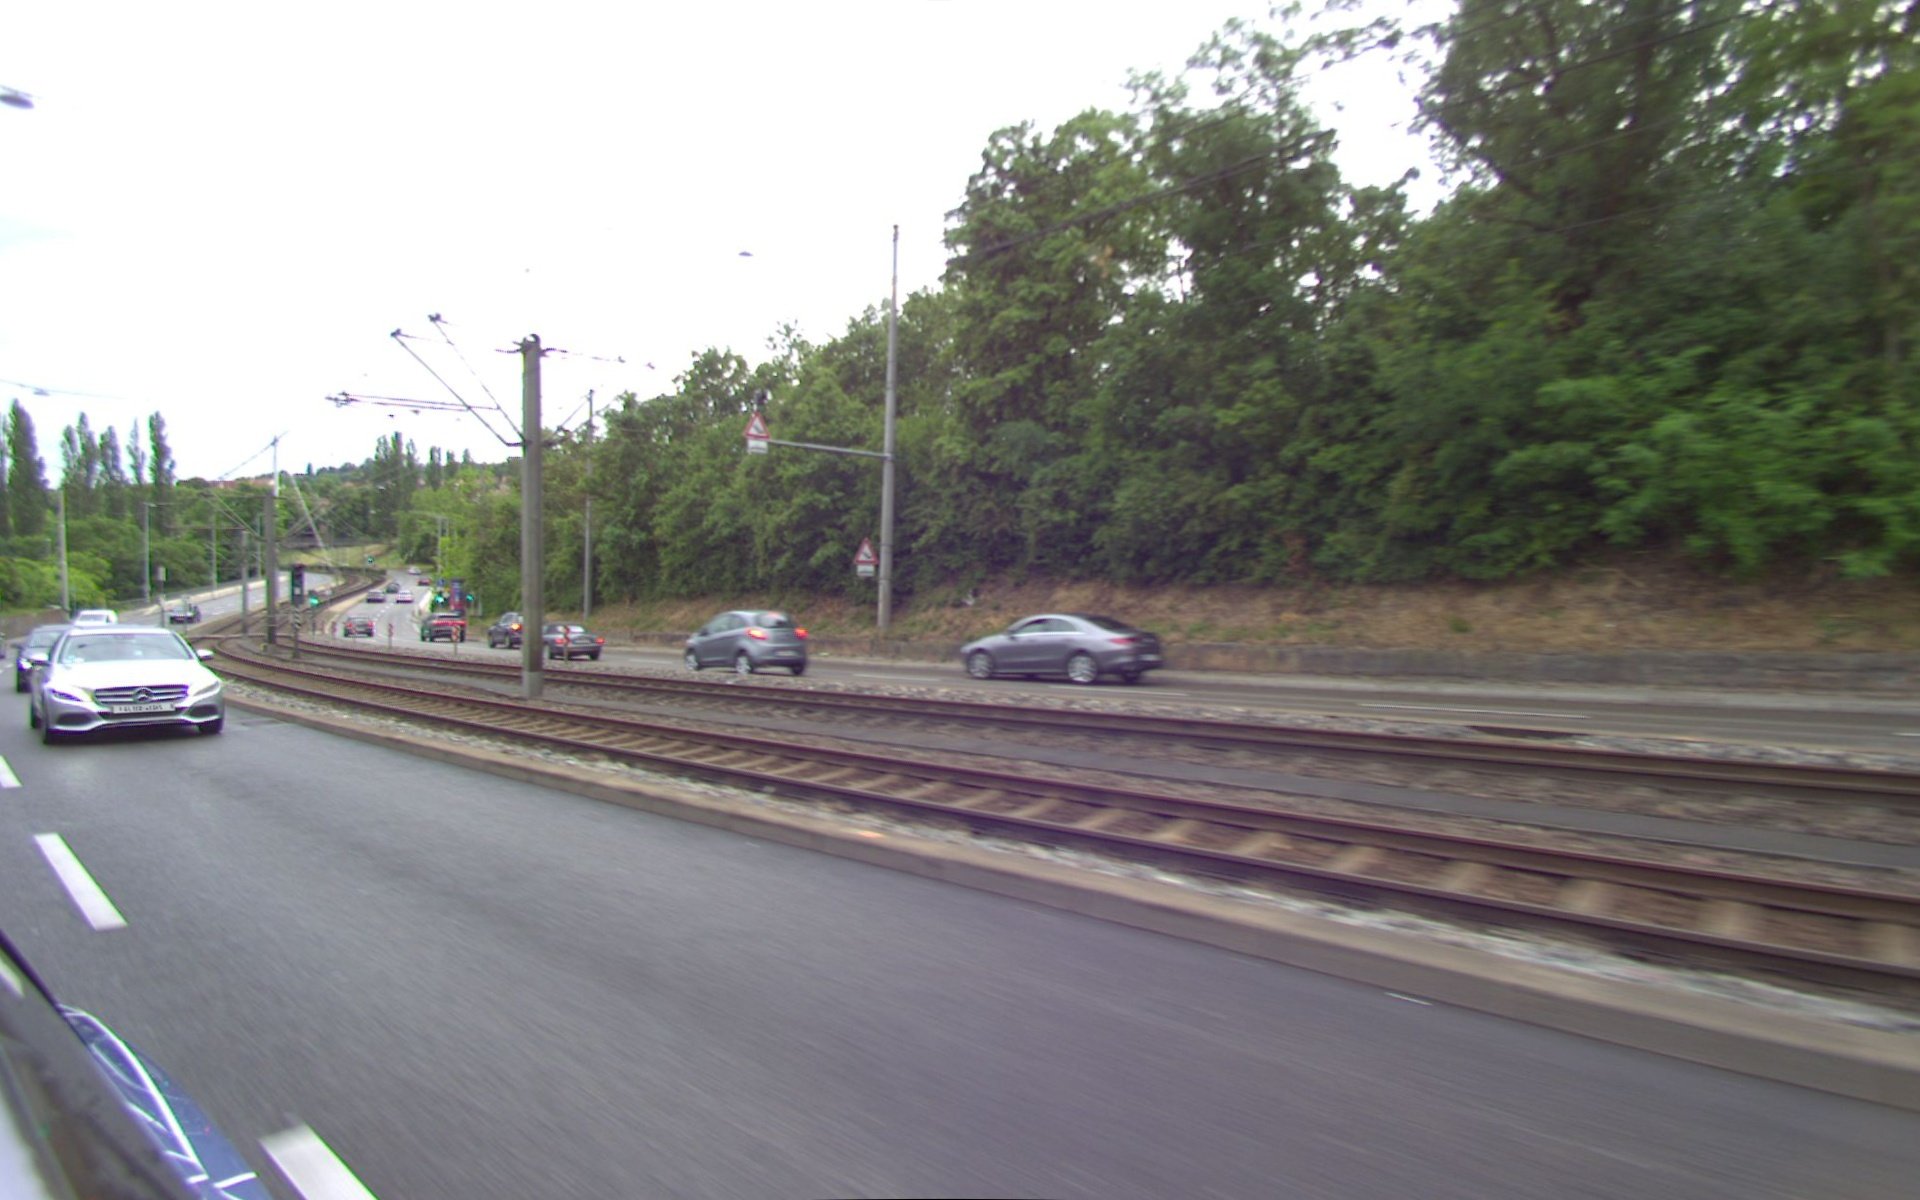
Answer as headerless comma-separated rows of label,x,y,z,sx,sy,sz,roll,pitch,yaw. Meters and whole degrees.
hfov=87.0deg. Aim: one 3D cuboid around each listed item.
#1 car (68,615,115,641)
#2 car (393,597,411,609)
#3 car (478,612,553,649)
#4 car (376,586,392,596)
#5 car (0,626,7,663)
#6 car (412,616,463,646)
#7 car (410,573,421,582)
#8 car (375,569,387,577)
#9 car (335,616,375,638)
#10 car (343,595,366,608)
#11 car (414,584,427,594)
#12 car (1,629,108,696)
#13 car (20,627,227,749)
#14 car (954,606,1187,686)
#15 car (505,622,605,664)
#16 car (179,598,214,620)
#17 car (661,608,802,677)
car,-64.023,2.054,74.651,1.739,1.830,4.013,-1,0,-27
car,-68.512,0.355,124.231,1.794,1.390,4.719,1,-1,-31
car,-20.282,1.393,46.054,1.687,1.620,4.414,2,-2,-44
car,-80.860,-1.277,142.058,1.611,1.395,3.904,2,-1,-34
car,-40.937,1.885,41.943,1.741,1.512,4.008,-1,0,-38
car,-30.372,1.776,58.741,1.761,1.682,4.749,0,-1,-38
car,-109.243,-4.565,203.101,1.796,1.526,4.544,0,4,-30
car,-129.790,-6.003,226.759,1.942,1.609,5.199,1,2,-34
car,-41.492,1.843,69.359,1.685,1.425,4.038,-1,0,-41
car,-72.926,0.163,121.917,1.835,1.449,4.872,-1,2,-25
car,-86.893,-1.757,162.975,1.692,1.469,4.290,0,2,-26
car,-21.057,1.375,23.482,1.711,1.362,4.003,-1,0,-44
car,-11.374,1.065,13.664,1.845,1.366,4.063,1,-1,-44
car,2.172,0.903,20.880,4.659,1.473,1.797,-1,-2,43
car,-13.037,1.341,32.457,3.961,1.268,1.526,-1,-3,45
car,-67.277,0.784,89.246,1.739,1.830,4.013,-1,0,-27
car,-5.447,0.988,23.922,3.622,1.502,1.520,-2,-3,44
